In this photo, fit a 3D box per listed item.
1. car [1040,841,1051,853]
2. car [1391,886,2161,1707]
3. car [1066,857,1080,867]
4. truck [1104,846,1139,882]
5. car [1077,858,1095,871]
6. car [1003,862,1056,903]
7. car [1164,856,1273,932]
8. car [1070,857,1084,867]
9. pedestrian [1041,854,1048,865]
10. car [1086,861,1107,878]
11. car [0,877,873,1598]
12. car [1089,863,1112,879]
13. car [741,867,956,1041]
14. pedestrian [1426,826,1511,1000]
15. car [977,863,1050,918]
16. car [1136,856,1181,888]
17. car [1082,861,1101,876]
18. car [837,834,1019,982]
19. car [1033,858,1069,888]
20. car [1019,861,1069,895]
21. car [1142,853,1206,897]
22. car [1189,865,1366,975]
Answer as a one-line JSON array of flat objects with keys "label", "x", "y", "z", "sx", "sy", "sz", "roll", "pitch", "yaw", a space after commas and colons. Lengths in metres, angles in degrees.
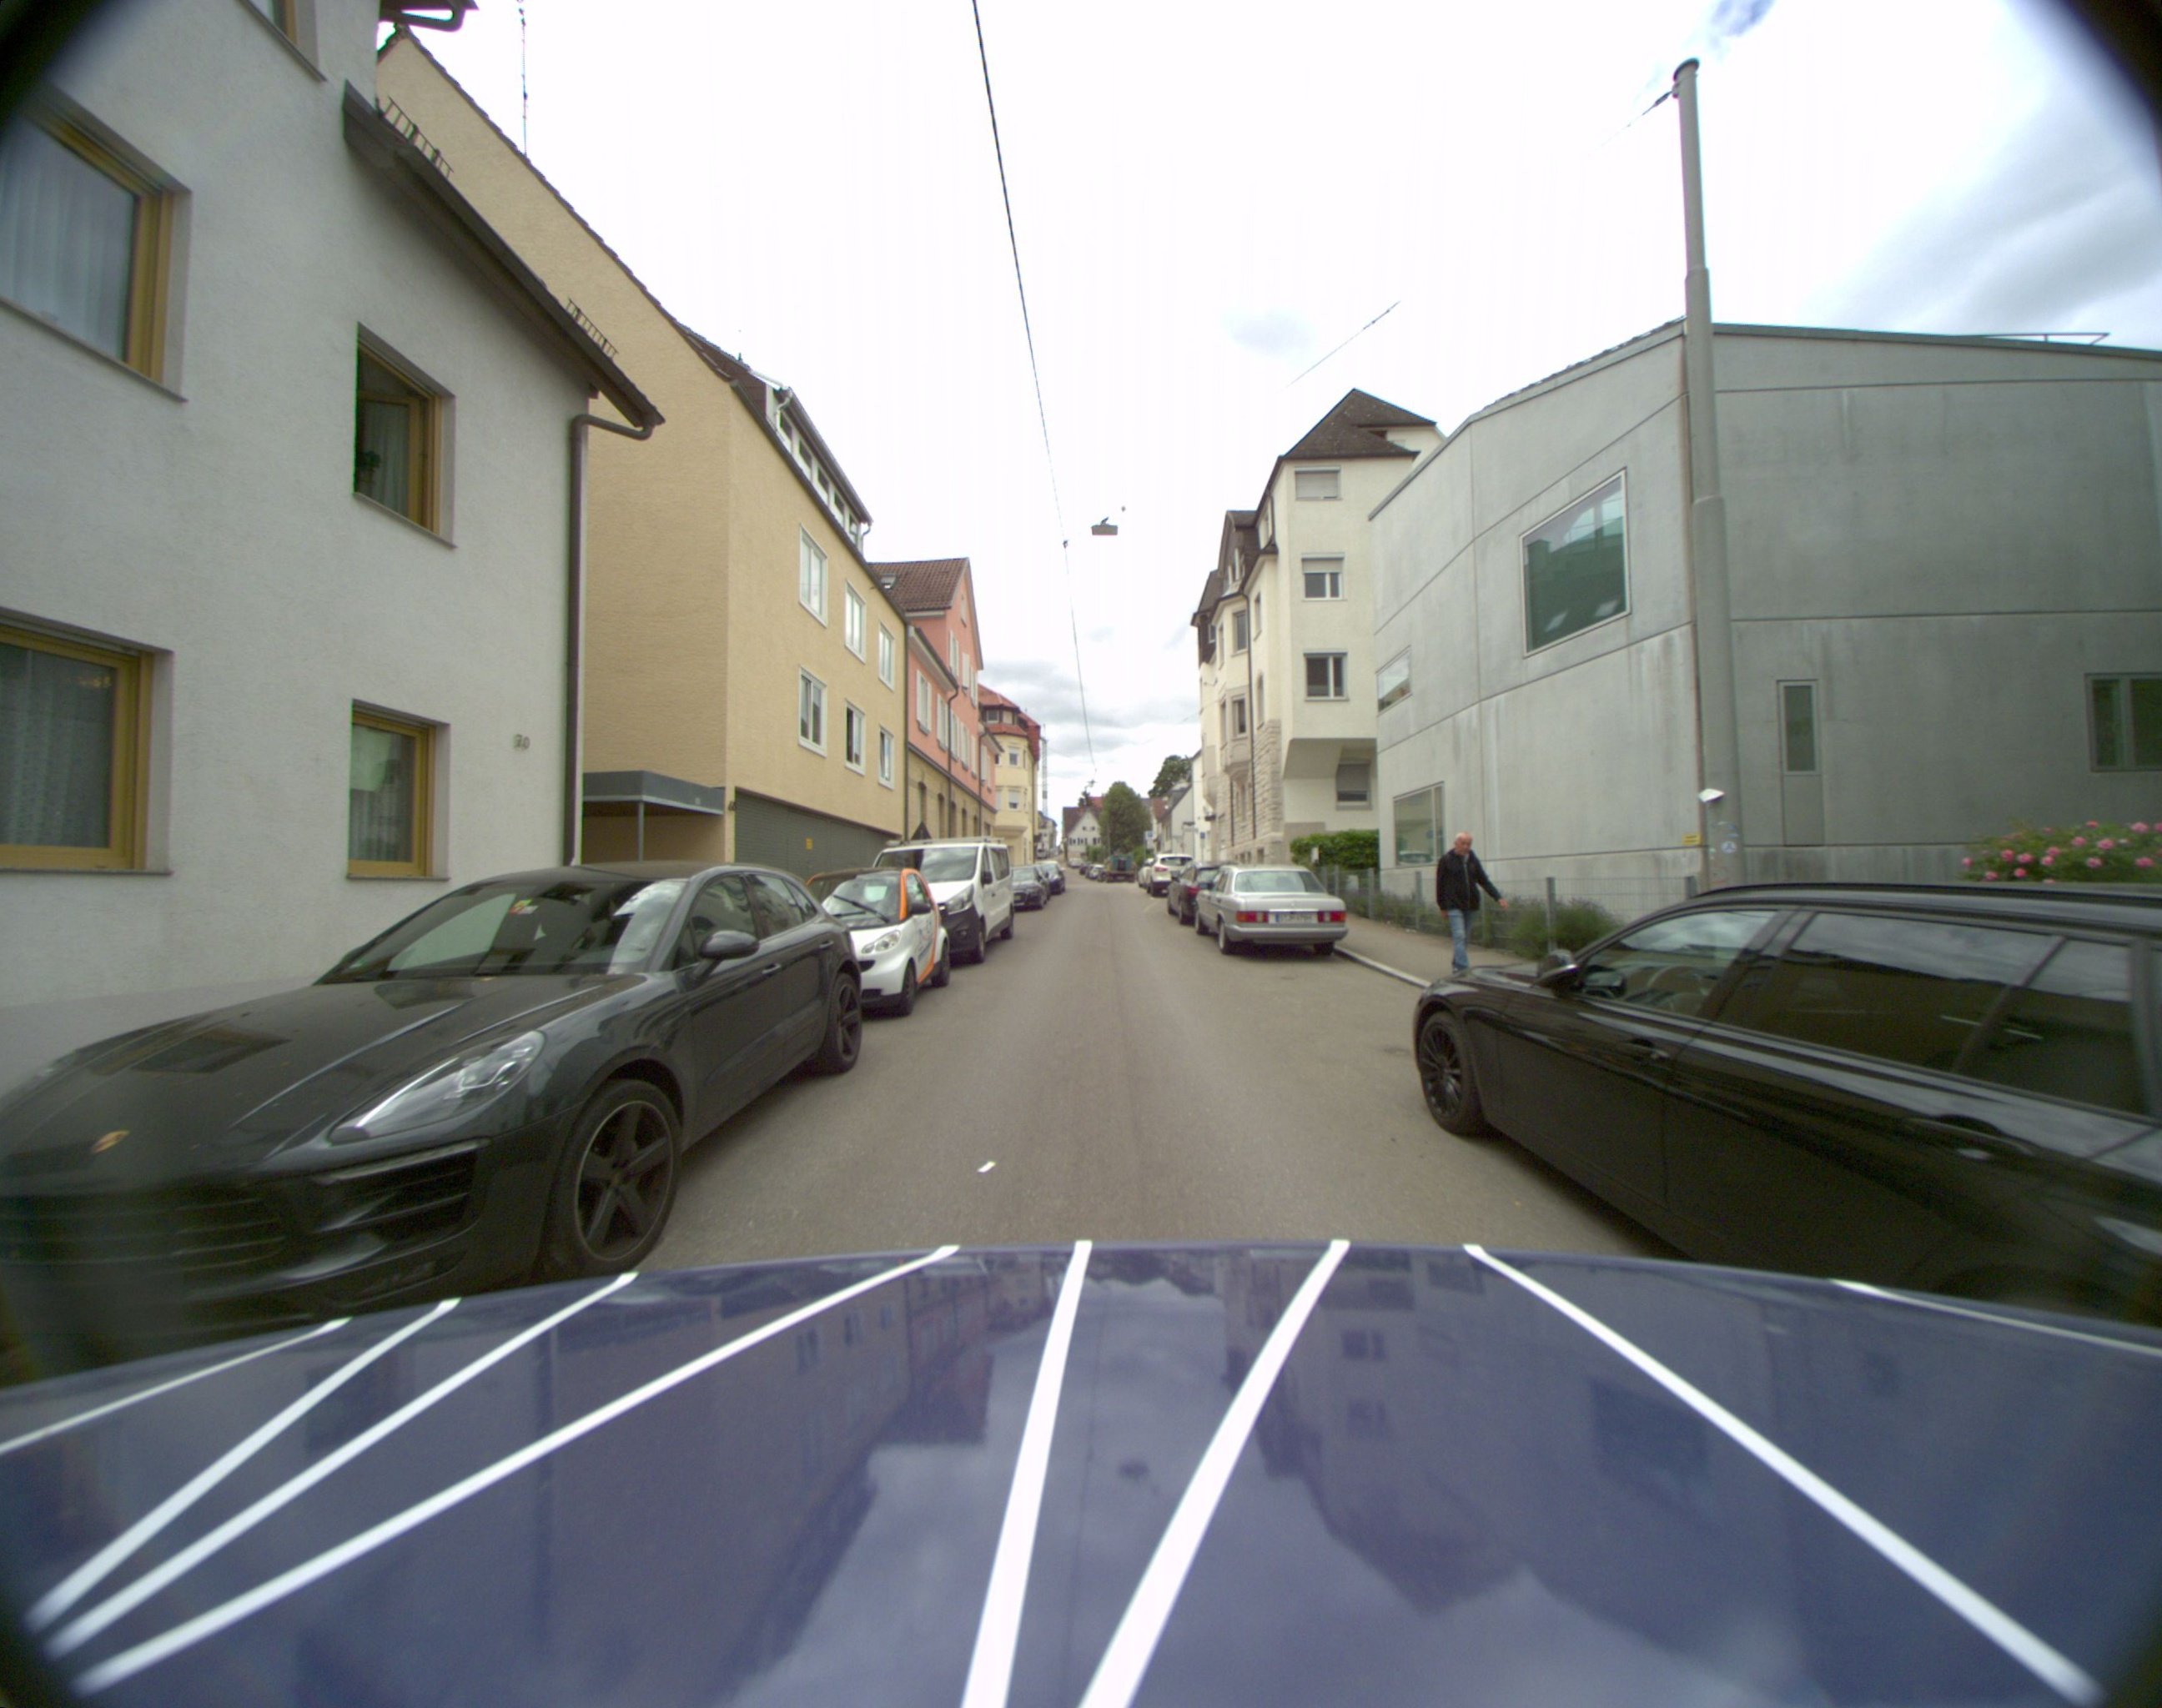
[{"label": "car", "x": -7.604, "y": -1.498, "z": 161.674, "sx": 2.194, "sy": 2.630, "sz": 5.823, "roll": 1, "pitch": 0, "yaw": -5}, {"label": "car", "x": 2.786, "y": 0.934, "z": 2.430, "sx": 1.849, "sy": 1.449, "sz": 4.504, "roll": 0, "pitch": 0, "yaw": 1}, {"label": "car", "x": -1.336, "y": 1.228, "z": 123.750, "sx": 1.856, "sy": 1.441, "sz": 3.943, "roll": 1, "pitch": 1, "yaw": -5}, {"label": "truck", "x": 3.018, "y": 0.823, "z": 57.460, "sx": 2.316, "sy": 2.536, "sz": 6.290, "roll": 1, "pitch": -2, "yaw": 0}, {"label": "car", "x": 0.633, "y": 1.393, "z": 98.560, "sx": 1.856, "sy": 1.641, "sz": 3.944, "roll": 1, "pitch": 0, "yaw": -5}, {"label": "car", "x": -1.922, "y": 1.062, "z": 29.385, "sx": 1.857, "sy": 1.395, "sz": 3.966, "roll": -3, "pitch": -1, "yaw": -2}, {"label": "car", "x": 3.127, "y": 0.852, "z": 18.207, "sx": 1.900, "sy": 1.518, "sz": 4.470, "roll": -1, "pitch": 1, "yaw": 1}, {"label": "car", "x": -0.648, "y": 1.181, "z": 117.291, "sx": 1.856, "sy": 1.441, "sz": 3.944, "roll": 1, "pitch": 0, "yaw": -5}, {"label": "pedestrian", "x": -5.042, "y": 0.738, "z": 104.207, "sx": 0.757, "sy": 1.480, "sz": 0.566, "roll": -1, "pitch": -1, "yaw": -18}, {"label": "car", "x": 1.608, "y": 1.656, "z": 80.363, "sx": 1.855, "sy": 1.640, "sz": 3.946, "roll": 1, "pitch": -1, "yaw": -3}, {"label": "car", "x": -2.622, "y": 0.997, "z": 4.050, "sx": 1.717, "sy": 1.587, "sz": 4.499, "roll": -3, "pitch": -1, "yaw": 0}, {"label": "car", "x": 1.833, "y": 1.639, "z": 71.545, "sx": 1.855, "sy": 1.454, "sz": 3.946, "roll": 1, "pitch": -1, "yaw": -3}, {"label": "car", "x": -2.469, "y": 0.989, "z": 8.698, "sx": 1.490, "sy": 1.587, "sz": 2.791, "roll": -3, "pitch": 0, "yaw": 1}, {"label": "pedestrian", "x": 4.425, "y": 0.643, "z": 8.740, "sx": 0.817, "sy": 1.873, "sz": 0.848, "roll": 0, "pitch": 0, "yaw": 24}, {"label": "car", "x": -2.094, "y": 1.109, "z": 24.812, "sx": 1.857, "sy": 1.395, "sz": 4.574, "roll": -4, "pitch": 0, "yaw": 0}, {"label": "car", "x": 3.647, "y": 0.831, "z": 36.407, "sx": 1.703, "sy": 1.405, "sz": 4.240, "roll": -1, "pitch": 0, "yaw": -1}, {"label": "car", "x": 1.203, "y": 1.655, "z": 88.329, "sx": 1.856, "sy": 1.641, "sz": 3.944, "roll": 1, "pitch": 0, "yaw": -5}, {"label": "car", "x": -2.389, "y": 0.790, "z": 13.600, "sx": 1.910, "sy": 2.018, "sz": 5.734, "roll": -3, "pitch": -1, "yaw": 1}, {"label": "car", "x": -1.529, "y": 0.989, "z": 40.177, "sx": 1.672, "sy": 1.470, "sz": 3.626, "roll": -1, "pitch": 0, "yaw": 1}, {"label": "car", "x": -1.613, "y": 1.037, "z": 34.458, "sx": 1.857, "sy": 1.395, "sz": 4.293, "roll": -3, "pitch": -1, "yaw": 1}, {"label": "car", "x": 3.455, "y": 0.768, "z": 28.861, "sx": 1.849, "sy": 1.506, "sz": 4.240, "roll": -1, "pitch": 0, "yaw": -1}, {"label": "car", "x": 3.111, "y": 0.965, "z": 13.158, "sx": 1.849, "sy": 1.405, "sz": 5.062, "roll": -1, "pitch": 0, "yaw": 1}]
